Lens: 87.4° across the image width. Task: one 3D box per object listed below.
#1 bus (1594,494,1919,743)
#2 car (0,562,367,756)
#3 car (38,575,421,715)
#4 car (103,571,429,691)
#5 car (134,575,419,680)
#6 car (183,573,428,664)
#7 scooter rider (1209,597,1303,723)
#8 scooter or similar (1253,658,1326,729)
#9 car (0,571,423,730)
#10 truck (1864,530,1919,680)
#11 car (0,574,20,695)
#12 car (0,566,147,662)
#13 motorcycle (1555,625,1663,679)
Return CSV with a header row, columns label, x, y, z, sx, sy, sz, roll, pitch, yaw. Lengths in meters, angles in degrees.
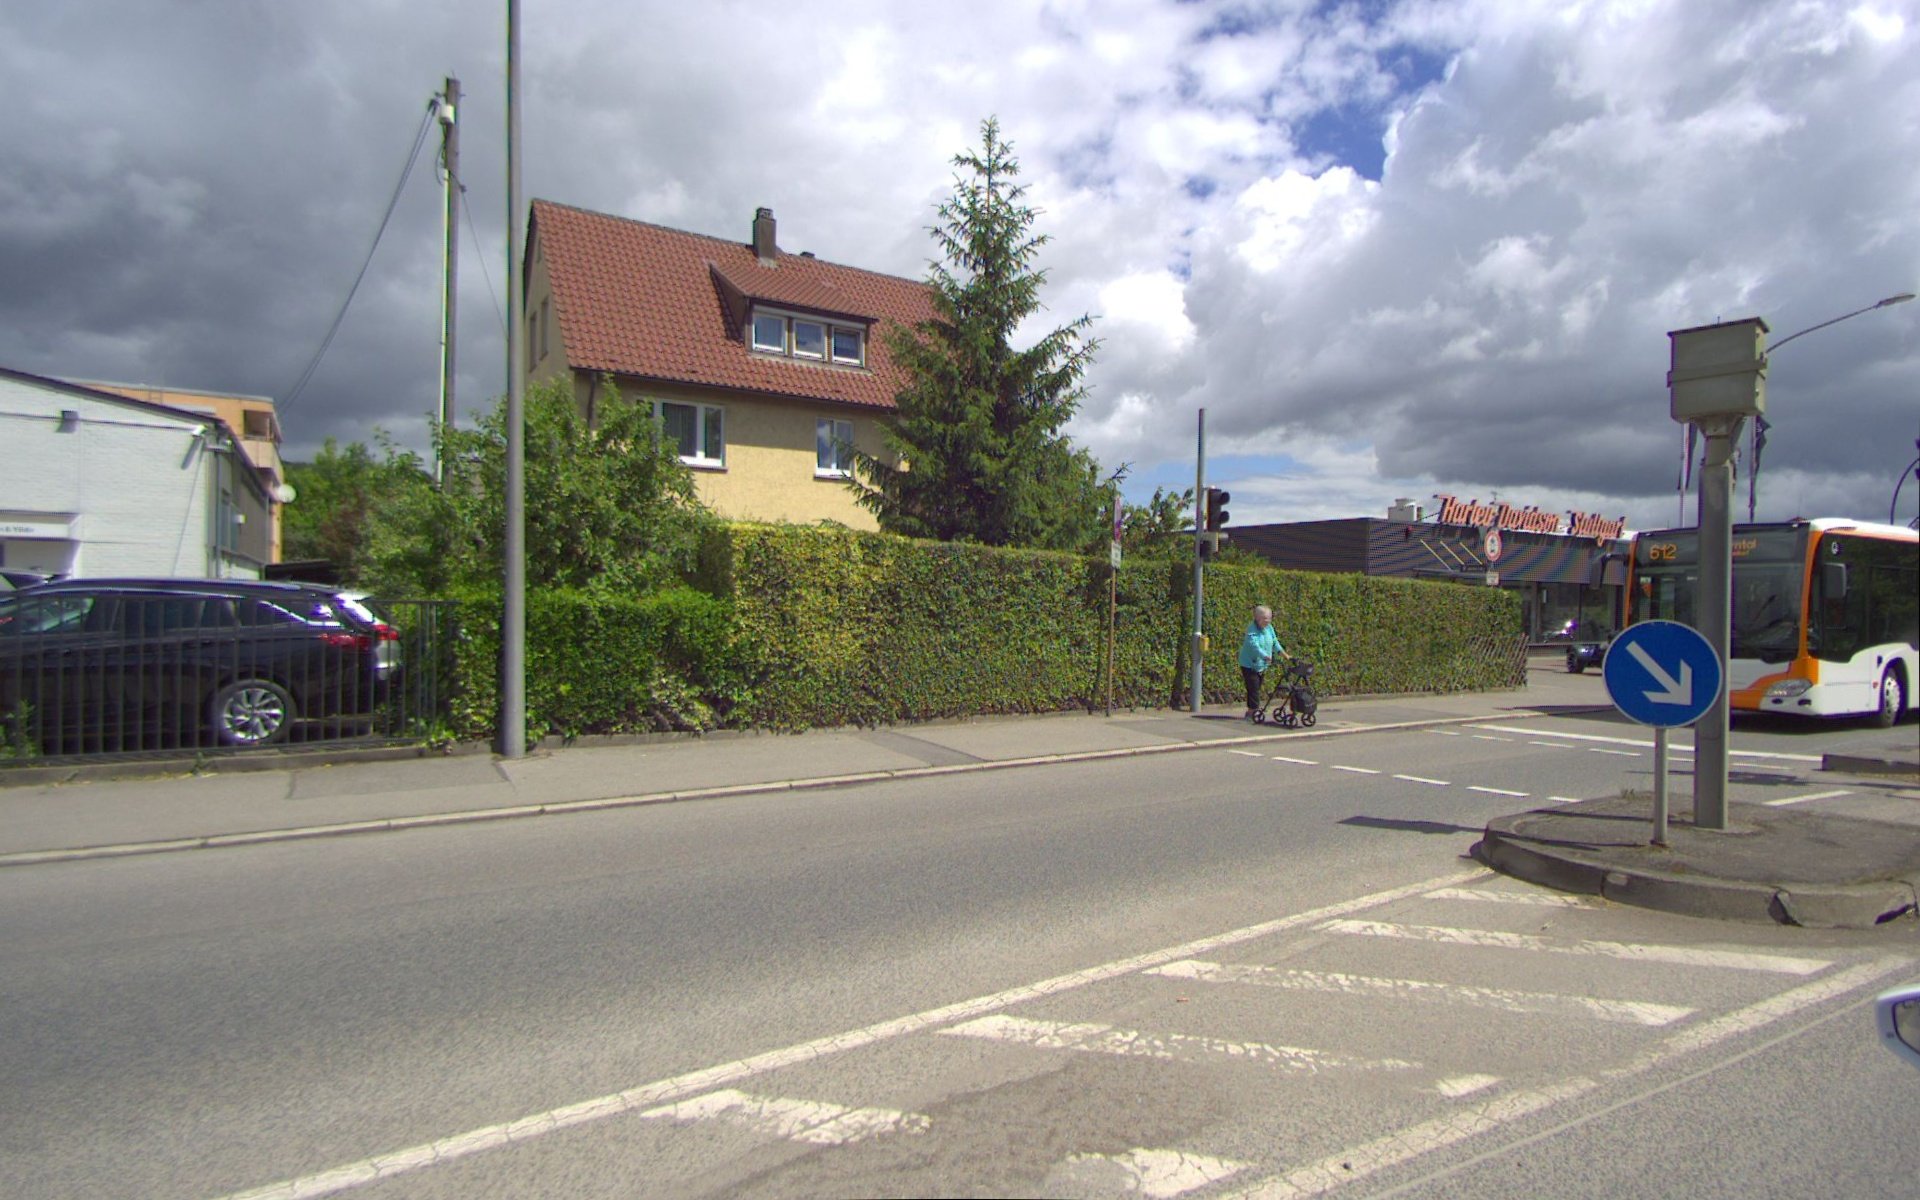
label,x,y,z,sx,sy,sz,roll,pitch,yaw
bus,15.875,0.373,17.528,11.975,3.309,2.766,1,-1,-29
car,-7.837,0.474,8.995,4.224,1.527,2.140,1,-1,-35
car,-9.642,0.567,13.629,3.959,1.639,1.765,1,-1,-34
car,-10.585,0.463,15.627,3.959,1.639,1.765,1,-1,-34
car,-11.889,0.476,17.676,3.963,1.639,1.763,1,-1,-37
car,-13.033,0.378,20.151,3.963,1.639,1.763,1,-1,-37
scooter rider,3.970,0.778,13.510,0.787,1.611,0.873,1,1,-31
scooter or similar,4.278,1.198,13.060,0.652,0.843,0.608,1,1,-31
car,-8.574,0.508,11.354,4.224,1.527,2.140,1,-1,-35
truck,30.477,0.257,30.758,9.068,4.186,2.410,2,1,-38
car,-14.844,0.429,12.807,3.963,1.639,1.763,1,-1,-37
car,-17.105,0.239,17.884,3.963,1.639,1.763,1,-1,-37
motorcycle,16.917,1.326,26.270,0.909,1.234,2.504,2,0,-8
